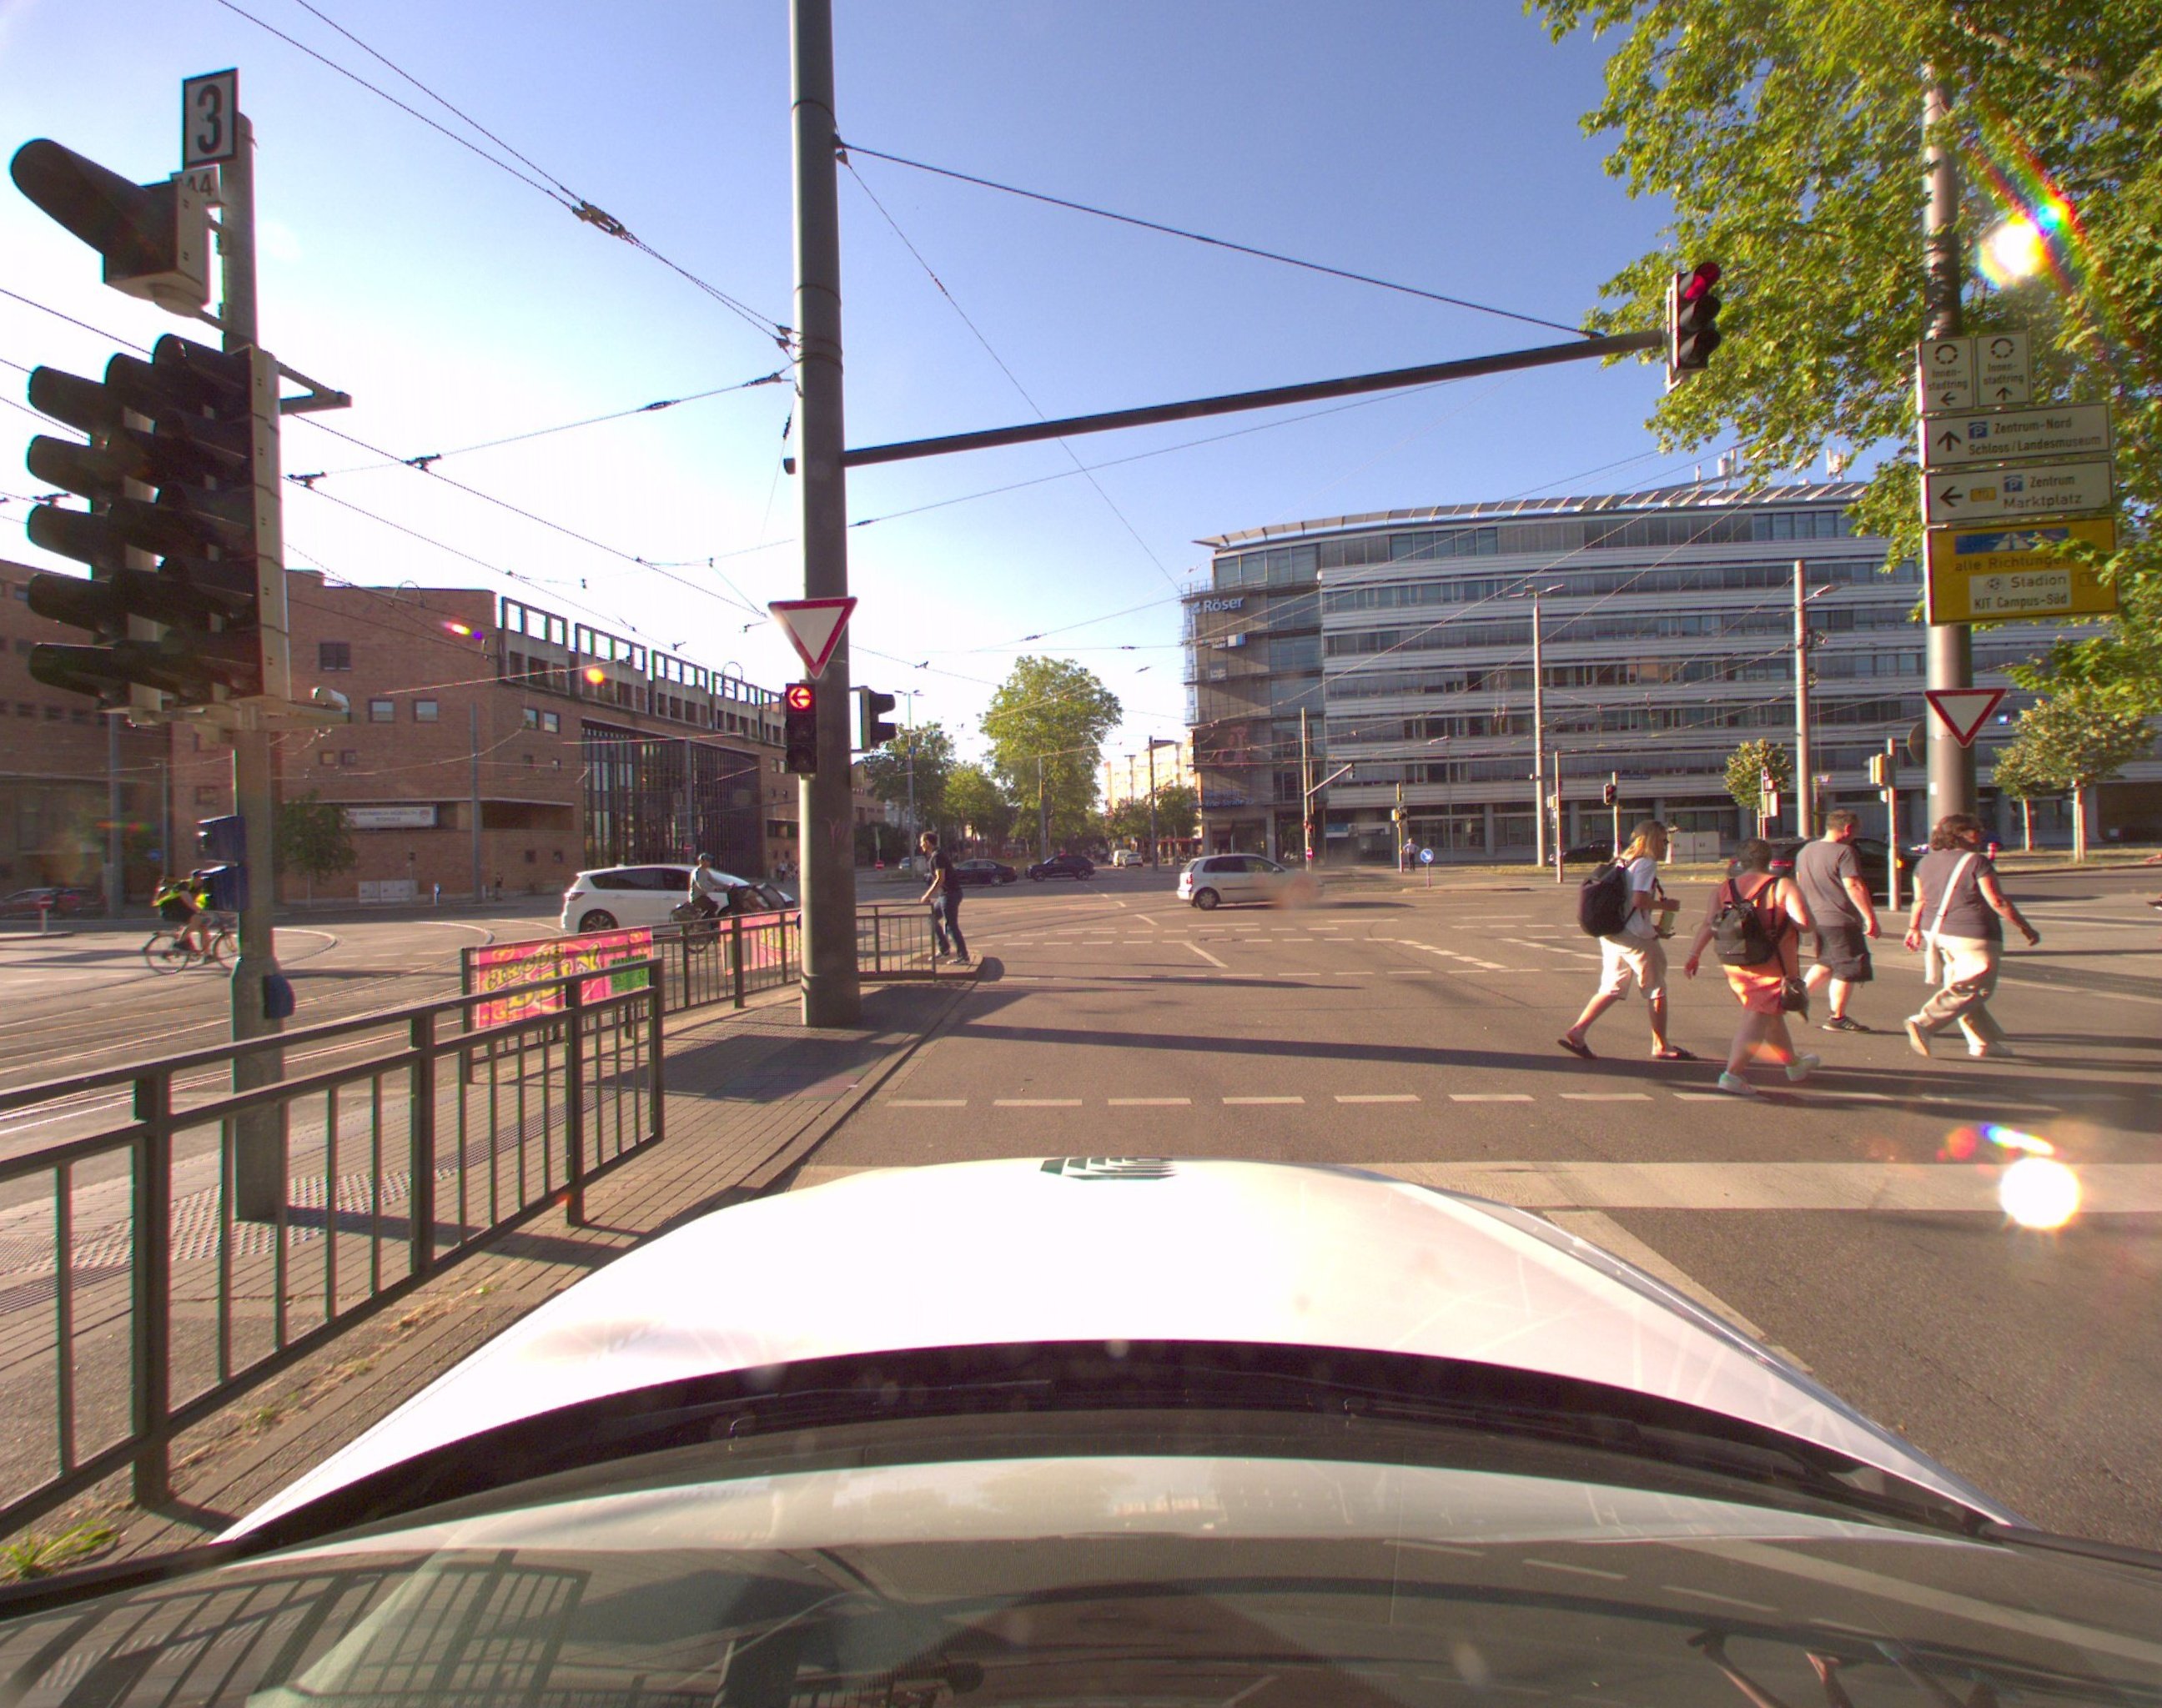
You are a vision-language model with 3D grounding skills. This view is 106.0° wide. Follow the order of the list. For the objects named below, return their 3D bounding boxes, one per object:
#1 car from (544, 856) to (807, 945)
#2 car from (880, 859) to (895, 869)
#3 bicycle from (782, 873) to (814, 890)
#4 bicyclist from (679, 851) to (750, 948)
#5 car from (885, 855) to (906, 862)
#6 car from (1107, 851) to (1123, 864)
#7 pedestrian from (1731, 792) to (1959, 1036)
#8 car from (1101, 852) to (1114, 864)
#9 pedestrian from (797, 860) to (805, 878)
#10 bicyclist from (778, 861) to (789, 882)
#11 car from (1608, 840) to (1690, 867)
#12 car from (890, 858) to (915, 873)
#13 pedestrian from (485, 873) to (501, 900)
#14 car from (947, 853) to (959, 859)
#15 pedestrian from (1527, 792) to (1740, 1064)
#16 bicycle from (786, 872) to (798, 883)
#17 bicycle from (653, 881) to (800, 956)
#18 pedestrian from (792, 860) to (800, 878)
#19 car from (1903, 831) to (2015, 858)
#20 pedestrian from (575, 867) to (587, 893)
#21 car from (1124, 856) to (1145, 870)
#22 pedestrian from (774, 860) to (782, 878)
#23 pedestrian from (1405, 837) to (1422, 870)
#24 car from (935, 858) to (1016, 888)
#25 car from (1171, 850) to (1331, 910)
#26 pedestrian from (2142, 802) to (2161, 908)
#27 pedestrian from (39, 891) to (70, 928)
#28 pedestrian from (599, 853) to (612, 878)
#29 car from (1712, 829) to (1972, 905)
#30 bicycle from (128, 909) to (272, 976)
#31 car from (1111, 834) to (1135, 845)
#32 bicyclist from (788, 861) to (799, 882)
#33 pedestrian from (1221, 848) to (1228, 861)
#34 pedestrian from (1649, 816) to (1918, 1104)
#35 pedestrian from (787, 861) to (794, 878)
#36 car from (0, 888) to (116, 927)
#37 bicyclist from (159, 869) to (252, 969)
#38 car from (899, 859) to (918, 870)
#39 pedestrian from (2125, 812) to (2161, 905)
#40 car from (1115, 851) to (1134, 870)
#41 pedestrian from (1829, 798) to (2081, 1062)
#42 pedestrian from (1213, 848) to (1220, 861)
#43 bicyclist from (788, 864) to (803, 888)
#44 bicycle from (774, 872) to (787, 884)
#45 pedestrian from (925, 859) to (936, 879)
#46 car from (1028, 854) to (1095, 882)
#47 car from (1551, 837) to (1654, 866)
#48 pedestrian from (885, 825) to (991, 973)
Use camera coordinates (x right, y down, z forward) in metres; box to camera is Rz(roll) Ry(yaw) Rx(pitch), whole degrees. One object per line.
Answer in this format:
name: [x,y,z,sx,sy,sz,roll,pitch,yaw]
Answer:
car: [-8.918,0.987,18.311,4.825,1.727,1.997,-2,0,-4]
car: [-28.983,1.528,122.052,1.906,1.510,3.987,0,-1,-9]
bicycle: [-17.037,1.657,49.055,1.745,0.899,0.407,-2,0,-16]
bicyclist: [-6.628,0.801,14.745,0.900,1.681,0.692,-2,0,5]
car: [-39.554,0.995,173.568,4.011,1.552,1.592,0,-1,-29]
car: [4.390,0.446,105.107,1.986,1.662,4.002,-2,0,2]
pedestrian: [6.329,0.469,6.802,1.143,1.894,0.831,0,-1,-6]
car: [4.141,0.593,126.845,1.986,1.662,4.002,-2,0,2]
pedestrian: [-29.510,1.596,85.830,0.637,1.810,0.547,-2,0,9]
bicyclist: [-24.272,1.405,66.377,0.592,1.675,0.788,-2,0,-4]
car: [33.820,-0.034,48.554,3.578,1.466,1.798,-2,0,6]
car: [-19.115,1.185,87.210,1.990,1.508,3.994,-2,0,-4]
pedestrian: [-35.345,1.958,48.917,0.538,1.613,0.575,-2,0,33]
car: [-34.316,0.542,218.567,1.982,1.508,4.011,-2,0,9]
pedestrian: [4.046,0.506,6.025,1.072,1.871,0.737,0,-1,-6]
bicycle: [-23.594,1.918,66.555,0.512,0.881,1.835,-2,0,-6]
bicycle: [-6.406,1.153,14.796,2.147,1.226,1.074,-1,1,5]
pedestrian: [-29.616,1.570,84.569,0.519,1.779,0.547,-2,0,9]
car: [50.144,-0.556,46.594,3.962,1.348,1.982,-2,0,10]
pedestrian: [-33.040,1.717,53.819,0.538,1.650,0.622,-1,-1,-17]
car: [5.433,0.872,82.909,1.986,1.332,4.002,-2,0,2]
pedestrian: [-31.565,1.593,84.815,0.487,1.810,0.547,-2,0,9]
pedestrian: [17.294,-0.014,42.351,0.715,1.681,0.558,-1,0,9]
car: [-5.700,1.005,44.055,4.238,1.434,1.790,-2,0,-8]
car: [4.513,0.666,21.975,3.899,1.434,1.823,-2,0,-3]
pedestrian: [19.115,0.013,13.899,0.840,1.820,0.870,-1,0,9]
pedestrian: [-45.807,2.472,36.348,0.542,1.613,0.613,0,1,-3]
pedestrian: [-32.114,0.772,55.001,0.538,1.650,0.622,-2,0,-17]
car: [17.751,0.288,19.135,4.469,1.583,1.824,-2,0,-2]
bicycle: [-15.327,1.534,14.188,1.914,1.064,0.630,-1,0,4]
car: [7.283,-2.521,141.308,3.732,1.750,1.789,0,-1,16]
bicyclist: [-23.504,1.404,66.614,0.592,1.675,0.788,-2,0,-4]
pedestrian: [15.917,0.045,90.382,0.701,1.465,0.385,-2,0,11]
pedestrian: [4.425,0.618,5.193,1.071,1.682,0.756,0,-1,-6]
pedestrian: [-30.658,1.632,85.938,0.487,1.810,0.547,-2,0,9]
car: [-49.849,2.581,39.142,4.240,1.602,1.790,-2,0,-9]
bicyclist: [-15.229,1.120,14.181,0.900,1.664,0.640,-2,0,4]
car: [-24.280,1.444,114.791,1.990,1.508,3.994,-2,0,-4]
pedestrian: [20.028,0.080,14.852,0.840,1.681,0.870,-1,0,9]
car: [4.744,0.678,89.771,1.986,1.991,4.002,-2,0,2]
pedestrian: [6.381,0.518,5.993,1.070,1.806,0.756,0,-1,-6]
pedestrian: [15.095,0.070,90.788,0.734,1.465,0.538,-2,0,11]
bicyclist: [-17.186,1.323,49.015,0.821,1.366,0.398,-2,0,-16]
bicycle: [-24.416,1.968,66.269,0.512,0.881,1.835,-2,0,-6]
pedestrian: [-11.726,1.188,63.347,0.753,1.530,0.507,-1,0,-6]
car: [-1.220,0.833,49.357,3.858,1.507,1.790,-2,0,-8]
car: [27.720,-0.132,43.379,4.219,1.392,1.799,-2,0,6]
pedestrian: [-1.855,0.561,10.772,1.206,1.822,1.040,-2,-1,-4]
